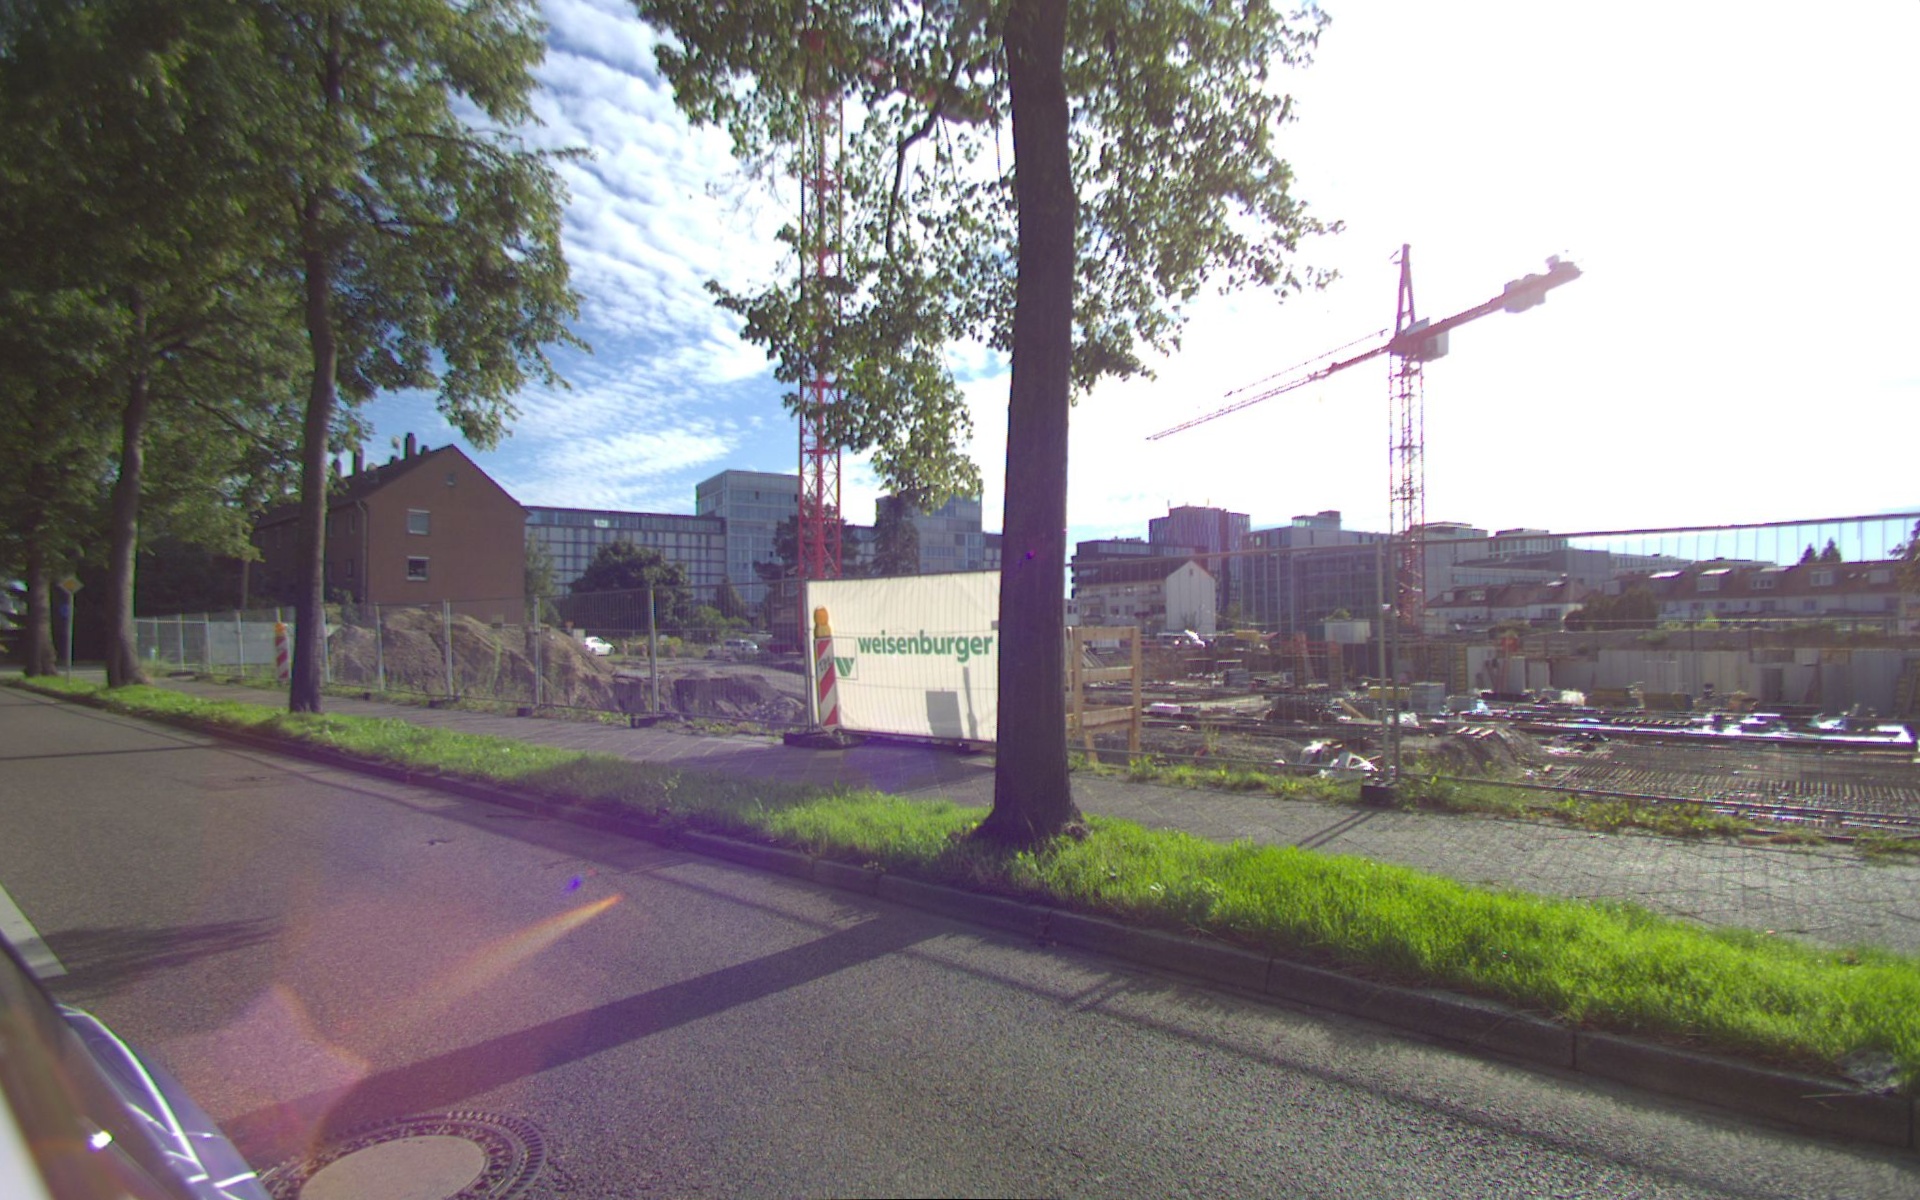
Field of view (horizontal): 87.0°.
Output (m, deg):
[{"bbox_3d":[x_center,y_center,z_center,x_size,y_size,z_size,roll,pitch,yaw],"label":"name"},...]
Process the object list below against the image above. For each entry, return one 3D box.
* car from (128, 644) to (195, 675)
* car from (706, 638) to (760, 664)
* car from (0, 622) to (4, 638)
[{"bbox_3d":[-40.976,3.003,51.911,4.508,1.439,1.972,-1,-3,43],"label":"car"},{"bbox_3d":[-17.181,3.809,76.455,3.976,1.821,1.796,0,-1,36],"label":"car"},{"bbox_3d":[-115.292,3.488,117.504,6.160,1.881,2.479,-1,-1,-3],"label":"car"}]
